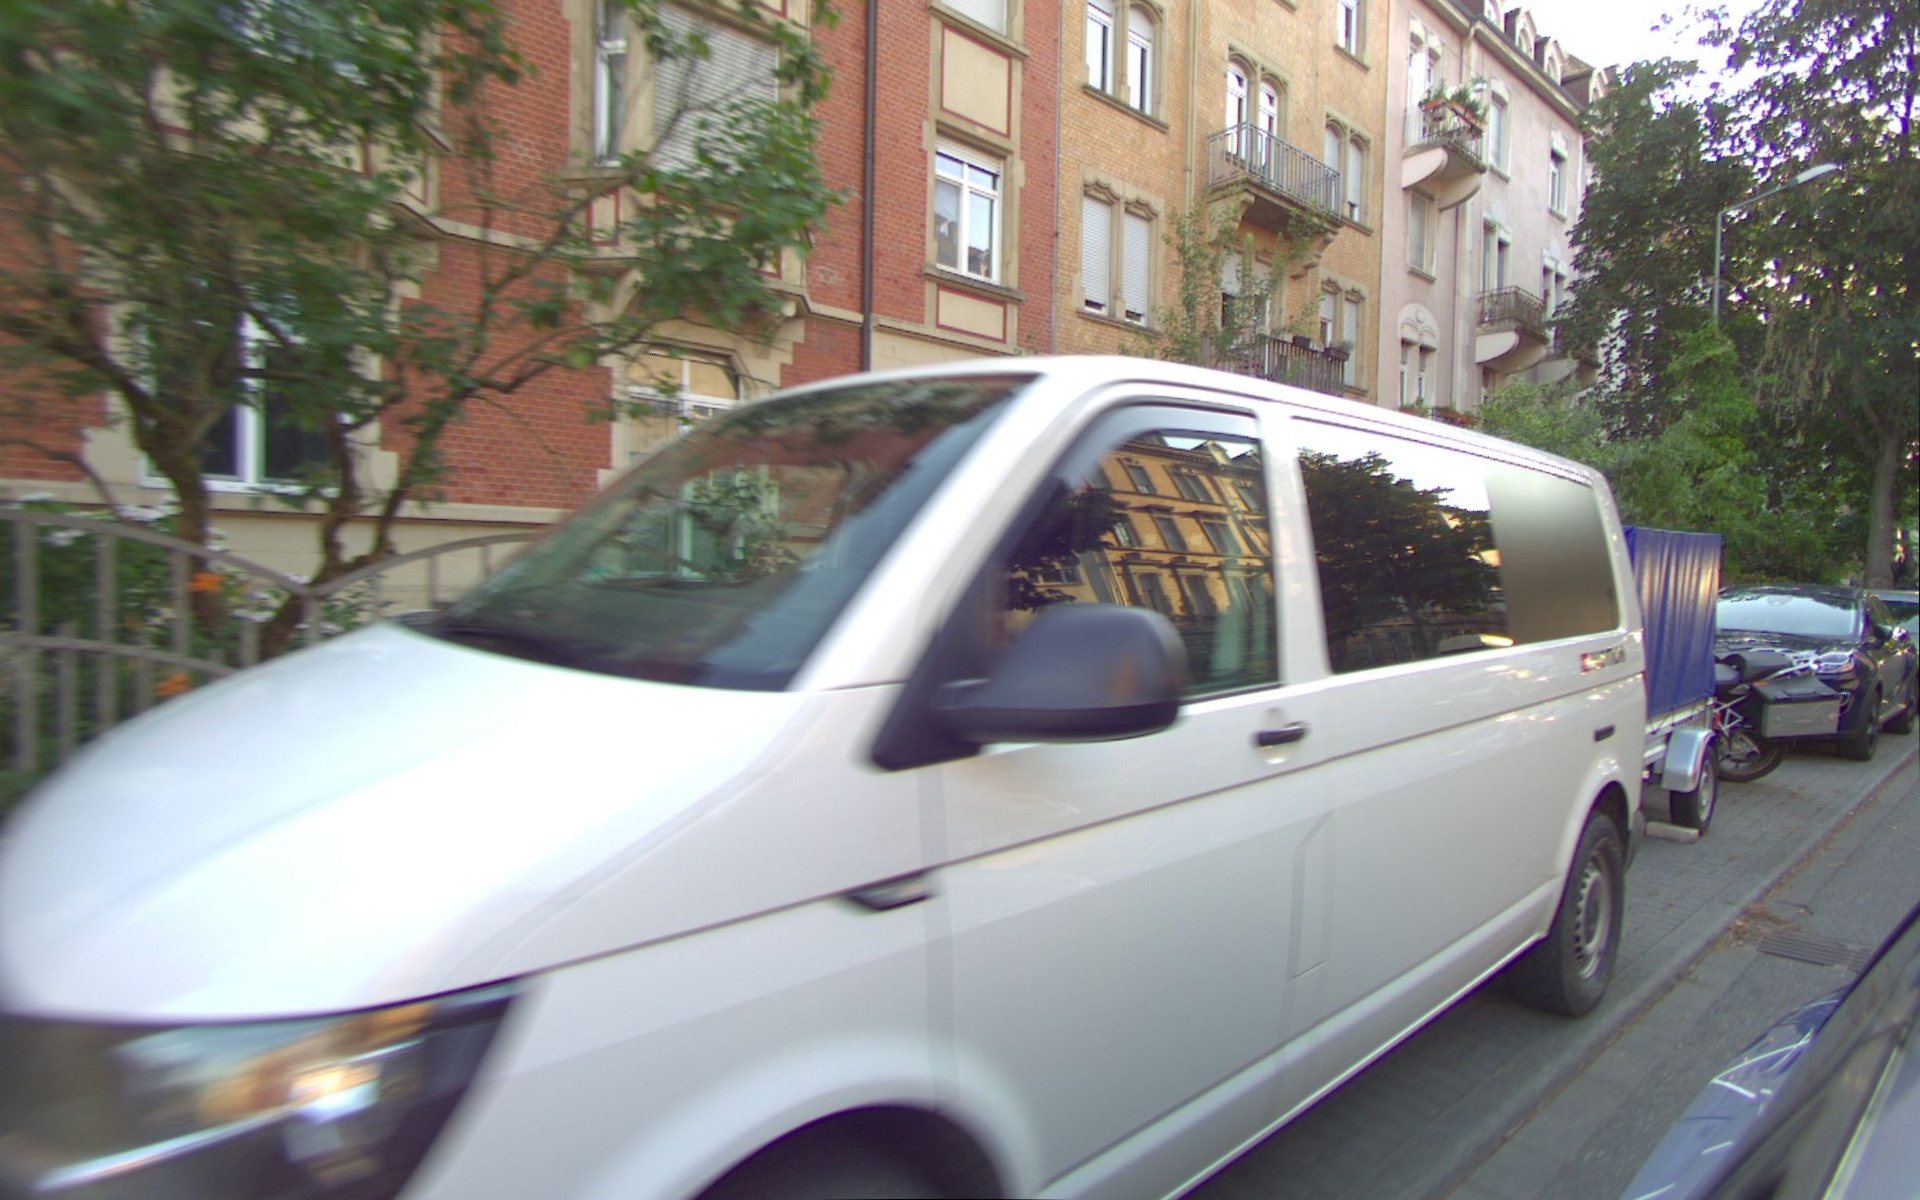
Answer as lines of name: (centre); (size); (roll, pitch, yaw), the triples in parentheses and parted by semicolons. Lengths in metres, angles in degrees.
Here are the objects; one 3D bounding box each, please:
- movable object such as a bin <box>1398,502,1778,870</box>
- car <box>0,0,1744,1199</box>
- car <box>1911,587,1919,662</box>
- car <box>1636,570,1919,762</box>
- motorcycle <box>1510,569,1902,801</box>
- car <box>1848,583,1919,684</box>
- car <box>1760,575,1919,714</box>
movable object such as a bin: (4.070, 0.393, 6.502); (2.285, 1.900, 1.415); (-1, 4, -42)
car: (0.575, 0.334, 3.076); (5.450, 2.063, 1.865); (-1, 4, -42)
car: (21.709, 0.495, 21.642); (4.094, 1.525, 1.734); (-1, 1, -43)
car: (8.632, 0.505, 10.307); (4.247, 1.570, 1.724); (-1, 1, -39)
motorcycle: (5.551, 0.561, 7.758); (2.066, 1.500, 1.128); (3, 3, 16)
car: (15.930, 0.490, 16.513); (3.537, 1.544, 1.589); (-1, 0, -39)
car: (12.554, 0.487, 13.662); (4.755, 1.602, 1.760); (-1, 0, -39)
